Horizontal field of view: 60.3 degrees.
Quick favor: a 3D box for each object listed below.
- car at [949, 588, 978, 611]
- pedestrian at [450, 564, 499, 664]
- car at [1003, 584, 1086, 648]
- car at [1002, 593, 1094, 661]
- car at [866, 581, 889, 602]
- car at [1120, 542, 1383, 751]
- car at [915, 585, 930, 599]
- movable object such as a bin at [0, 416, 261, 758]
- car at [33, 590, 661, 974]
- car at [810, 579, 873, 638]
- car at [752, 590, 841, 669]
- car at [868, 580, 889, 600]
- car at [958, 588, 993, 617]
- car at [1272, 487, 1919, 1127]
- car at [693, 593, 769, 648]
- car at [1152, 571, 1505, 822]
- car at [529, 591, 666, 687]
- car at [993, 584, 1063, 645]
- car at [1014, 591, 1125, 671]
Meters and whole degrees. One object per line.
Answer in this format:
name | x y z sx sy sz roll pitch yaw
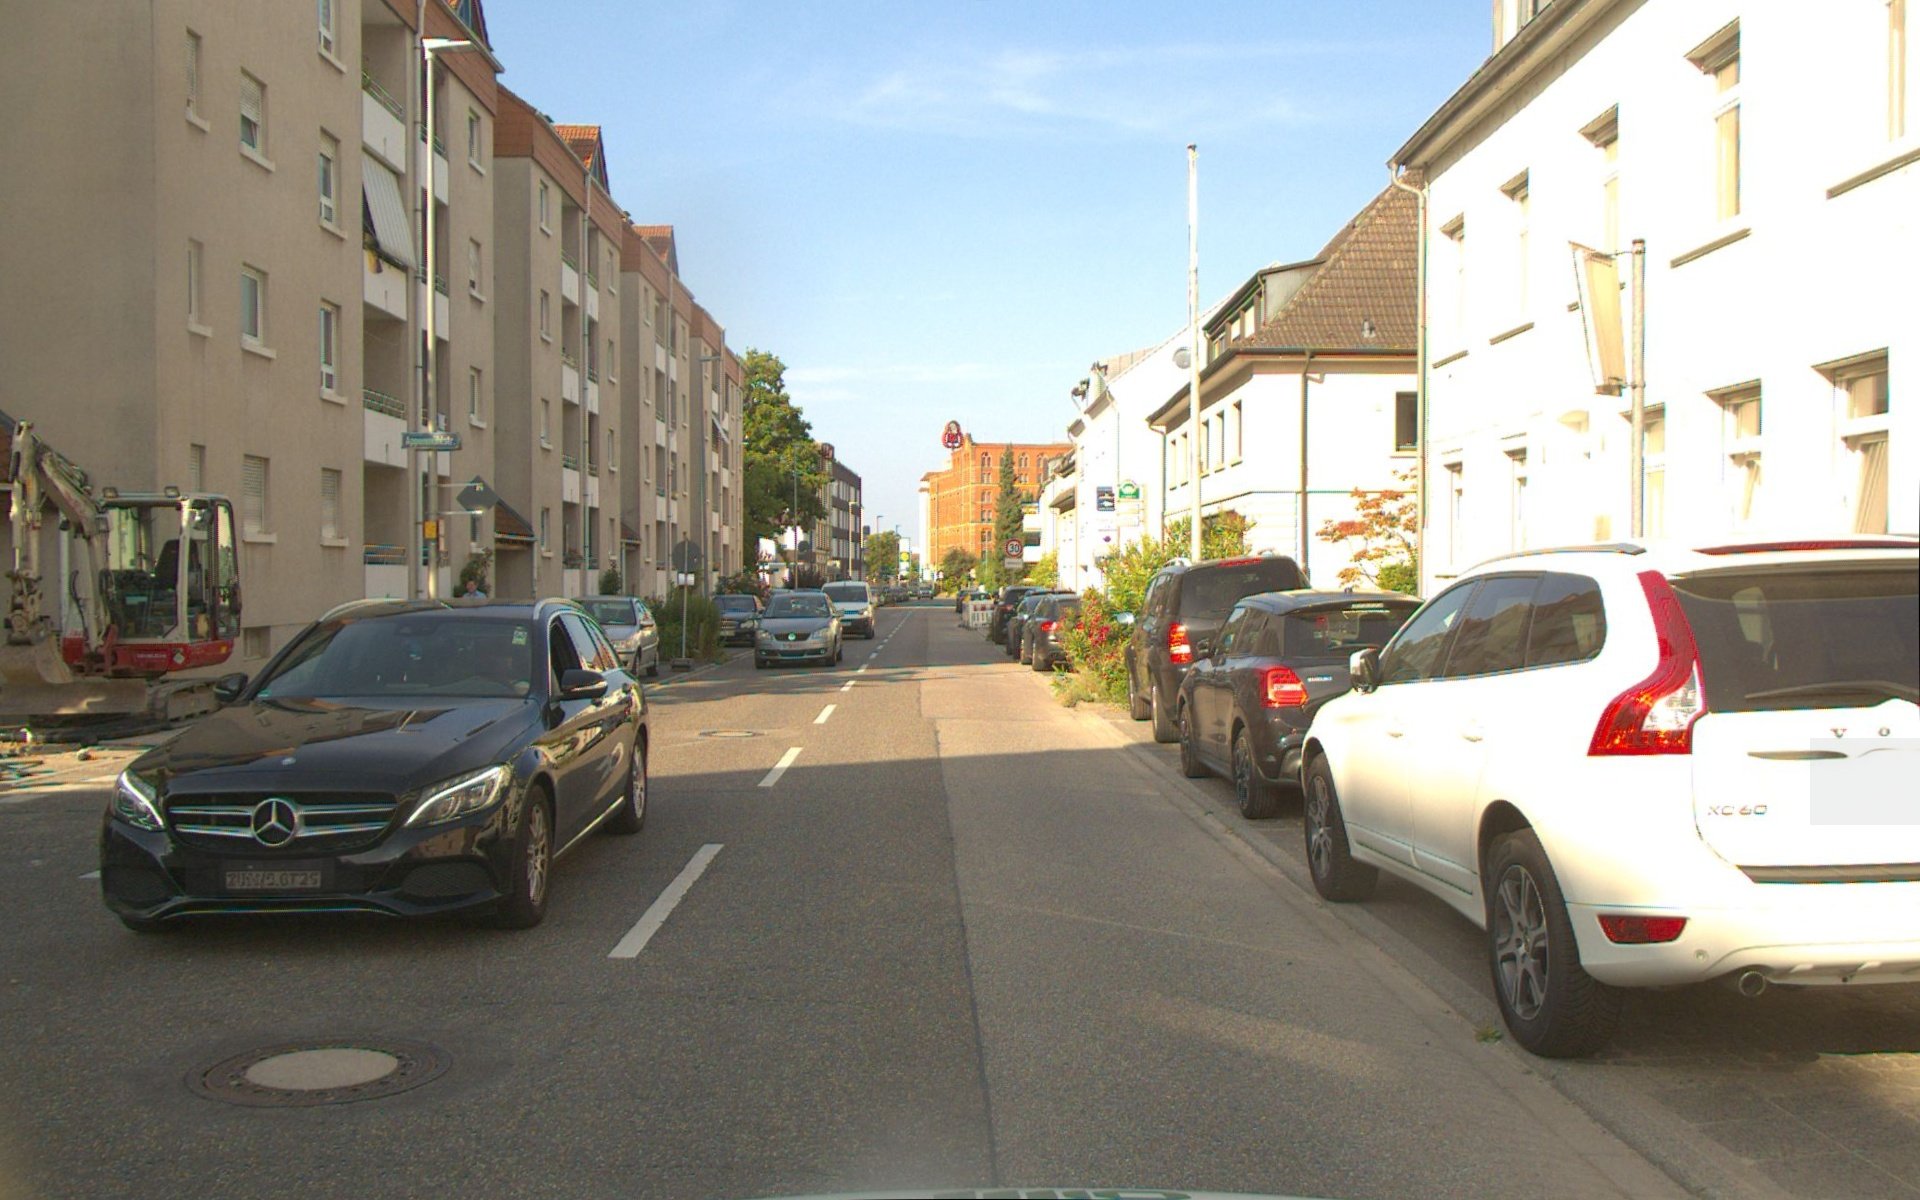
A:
car | 0.227 -0.068 113.058 1.821 1.497 3.999 2 0 -2
pedestrian | -9.191 0.255 31.303 0.704 1.850 0.745 1 1 -1
car | 2.170 0.377 43.598 1.793 1.587 4.315 -1 0 -2
car | 1.975 0.579 38.151 1.793 1.445 4.608 0 1 -1
car | -7.870 -0.798 157.737 1.953 1.941 4.000 0 0 0
car | 2.931 0.388 17.671 2.033 1.888 4.611 -2 1 1
car | -4.592 -0.965 203.067 1.728 1.644 3.999 -1 1 -1
movable object such as a bin | -8.936 -0.157 17.429 1.615 3.193 3.898 0 1 -3
car | -2.747 0.688 8.513 1.793 1.445 4.207 0 1 -2
car | -3.743 0.235 52.881 1.883 1.798 4.336 0 1 -2
car | -3.298 0.558 33.945 1.585 1.480 3.684 -1 1 -2
car | -8.061 -1.006 163.829 1.953 1.914 4.000 0 0 -1
car | 0.799 0.107 88.372 1.792 1.508 3.943 -1 1 0
car | 2.680 0.516 6.779 1.776 1.713 4.475 -3 1 -2
car | -6.343 0.539 46.132 1.652 1.430 4.082 1 1 -2
car | 2.621 0.605 12.845 1.557 1.555 4.612 -2 0 -2
car | -6.057 0.606 27.994 1.608 1.420 3.669 -2 1 -3
car | 1.956 0.455 48.736 1.792 1.658 4.462 2 -1 0
car | 2.094 0.564 32.704 1.743 1.445 4.494 0 1 -2
